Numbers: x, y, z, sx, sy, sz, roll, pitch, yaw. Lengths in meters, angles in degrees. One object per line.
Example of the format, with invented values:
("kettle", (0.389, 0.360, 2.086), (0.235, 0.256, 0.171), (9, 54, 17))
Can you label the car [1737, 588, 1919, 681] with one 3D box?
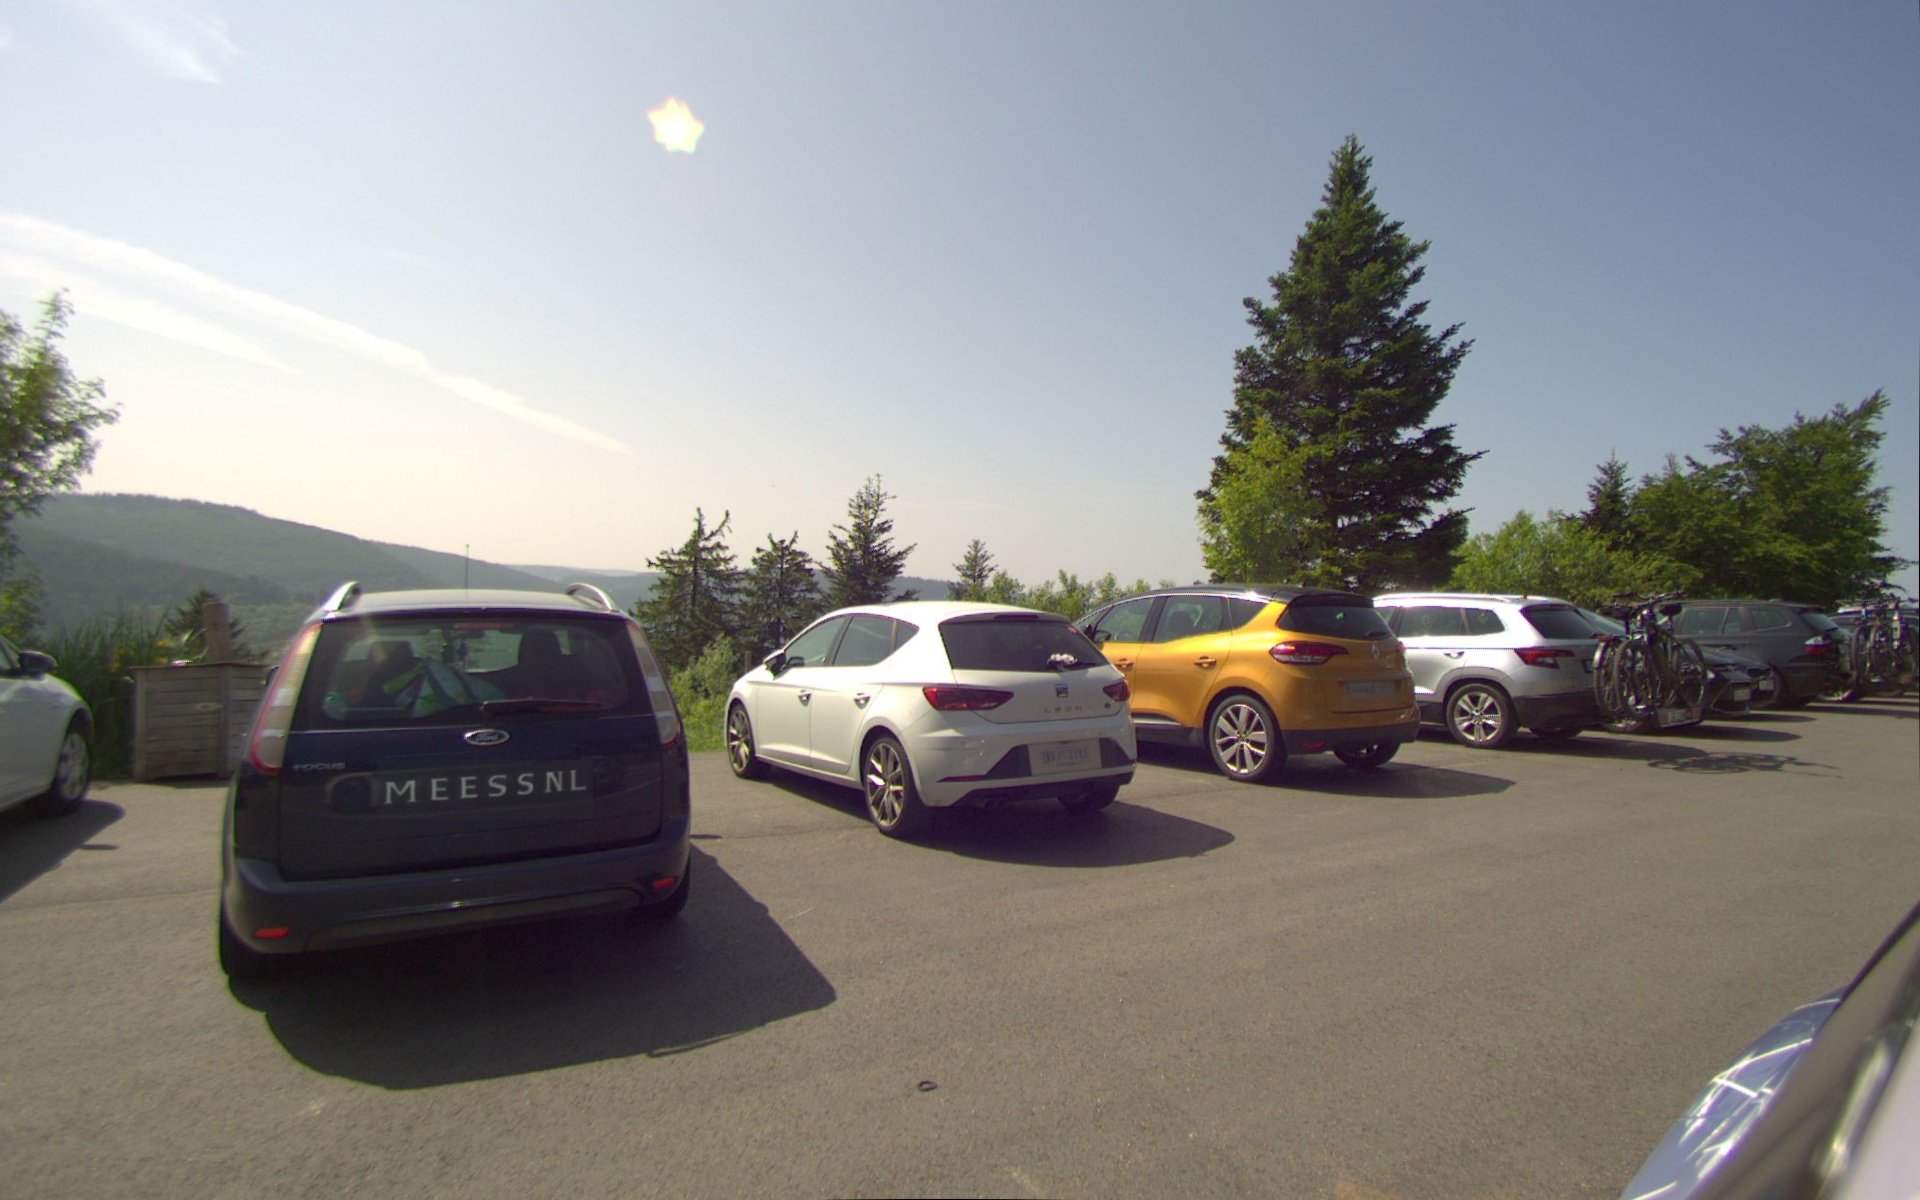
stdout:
("car", (19.256, 0.685, 21.221), (1.962, 1.845, 4.326), (1, 0, -36))

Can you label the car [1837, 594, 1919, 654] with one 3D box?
("car", (31.118, 0.756, 34.250), (3.819, 1.864, 1.863), (0, 1, -44))

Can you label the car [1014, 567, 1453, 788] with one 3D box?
("car", (2.341, 0.628, 9.610), (1.676, 1.636, 3.890), (1, -2, -33))

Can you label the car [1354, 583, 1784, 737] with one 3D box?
("car", (7.588, 0.704, 13.082), (1.719, 1.639, 4.431), (1, -2, -35))

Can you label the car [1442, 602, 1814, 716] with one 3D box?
("car", (9.721, 0.813, 15.127), (1.656, 1.450, 4.328), (1, -2, -32))

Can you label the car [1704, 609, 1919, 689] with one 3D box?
("car", (16.908, 0.890, 19.686), (1.708, 1.368, 3.679), (1, 0, -42))

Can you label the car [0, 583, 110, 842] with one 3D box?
("car", (-6.083, 0.625, 5.194), (1.730, 1.438, 4.005), (0, -1, -27))

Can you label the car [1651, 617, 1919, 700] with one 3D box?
("car", (14.456, 0.945, 17.610), (1.534, 1.285, 3.710), (2, -2, -36))

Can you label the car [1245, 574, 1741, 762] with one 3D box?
("car", (5.631, 0.628, 11.278), (1.975, 1.647, 4.488), (1, -1, -35))

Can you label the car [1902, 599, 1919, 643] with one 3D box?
("car", (40.750, 0.855, 42.266), (1.993, 1.766, 3.938), (1, 1, 43))

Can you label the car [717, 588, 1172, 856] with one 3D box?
("car", (-0.396, 0.690, 7.544), (1.582, 1.438, 3.897), (-1, -1, -32))

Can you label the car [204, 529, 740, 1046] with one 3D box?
("car", (-2.570, 0.568, 5.291), (1.638, 1.564, 4.148), (1, 0, -29))

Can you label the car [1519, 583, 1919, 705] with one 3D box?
("car", (12.093, 0.696, 16.220), (1.962, 1.641, 5.116), (1, -3, -35))
